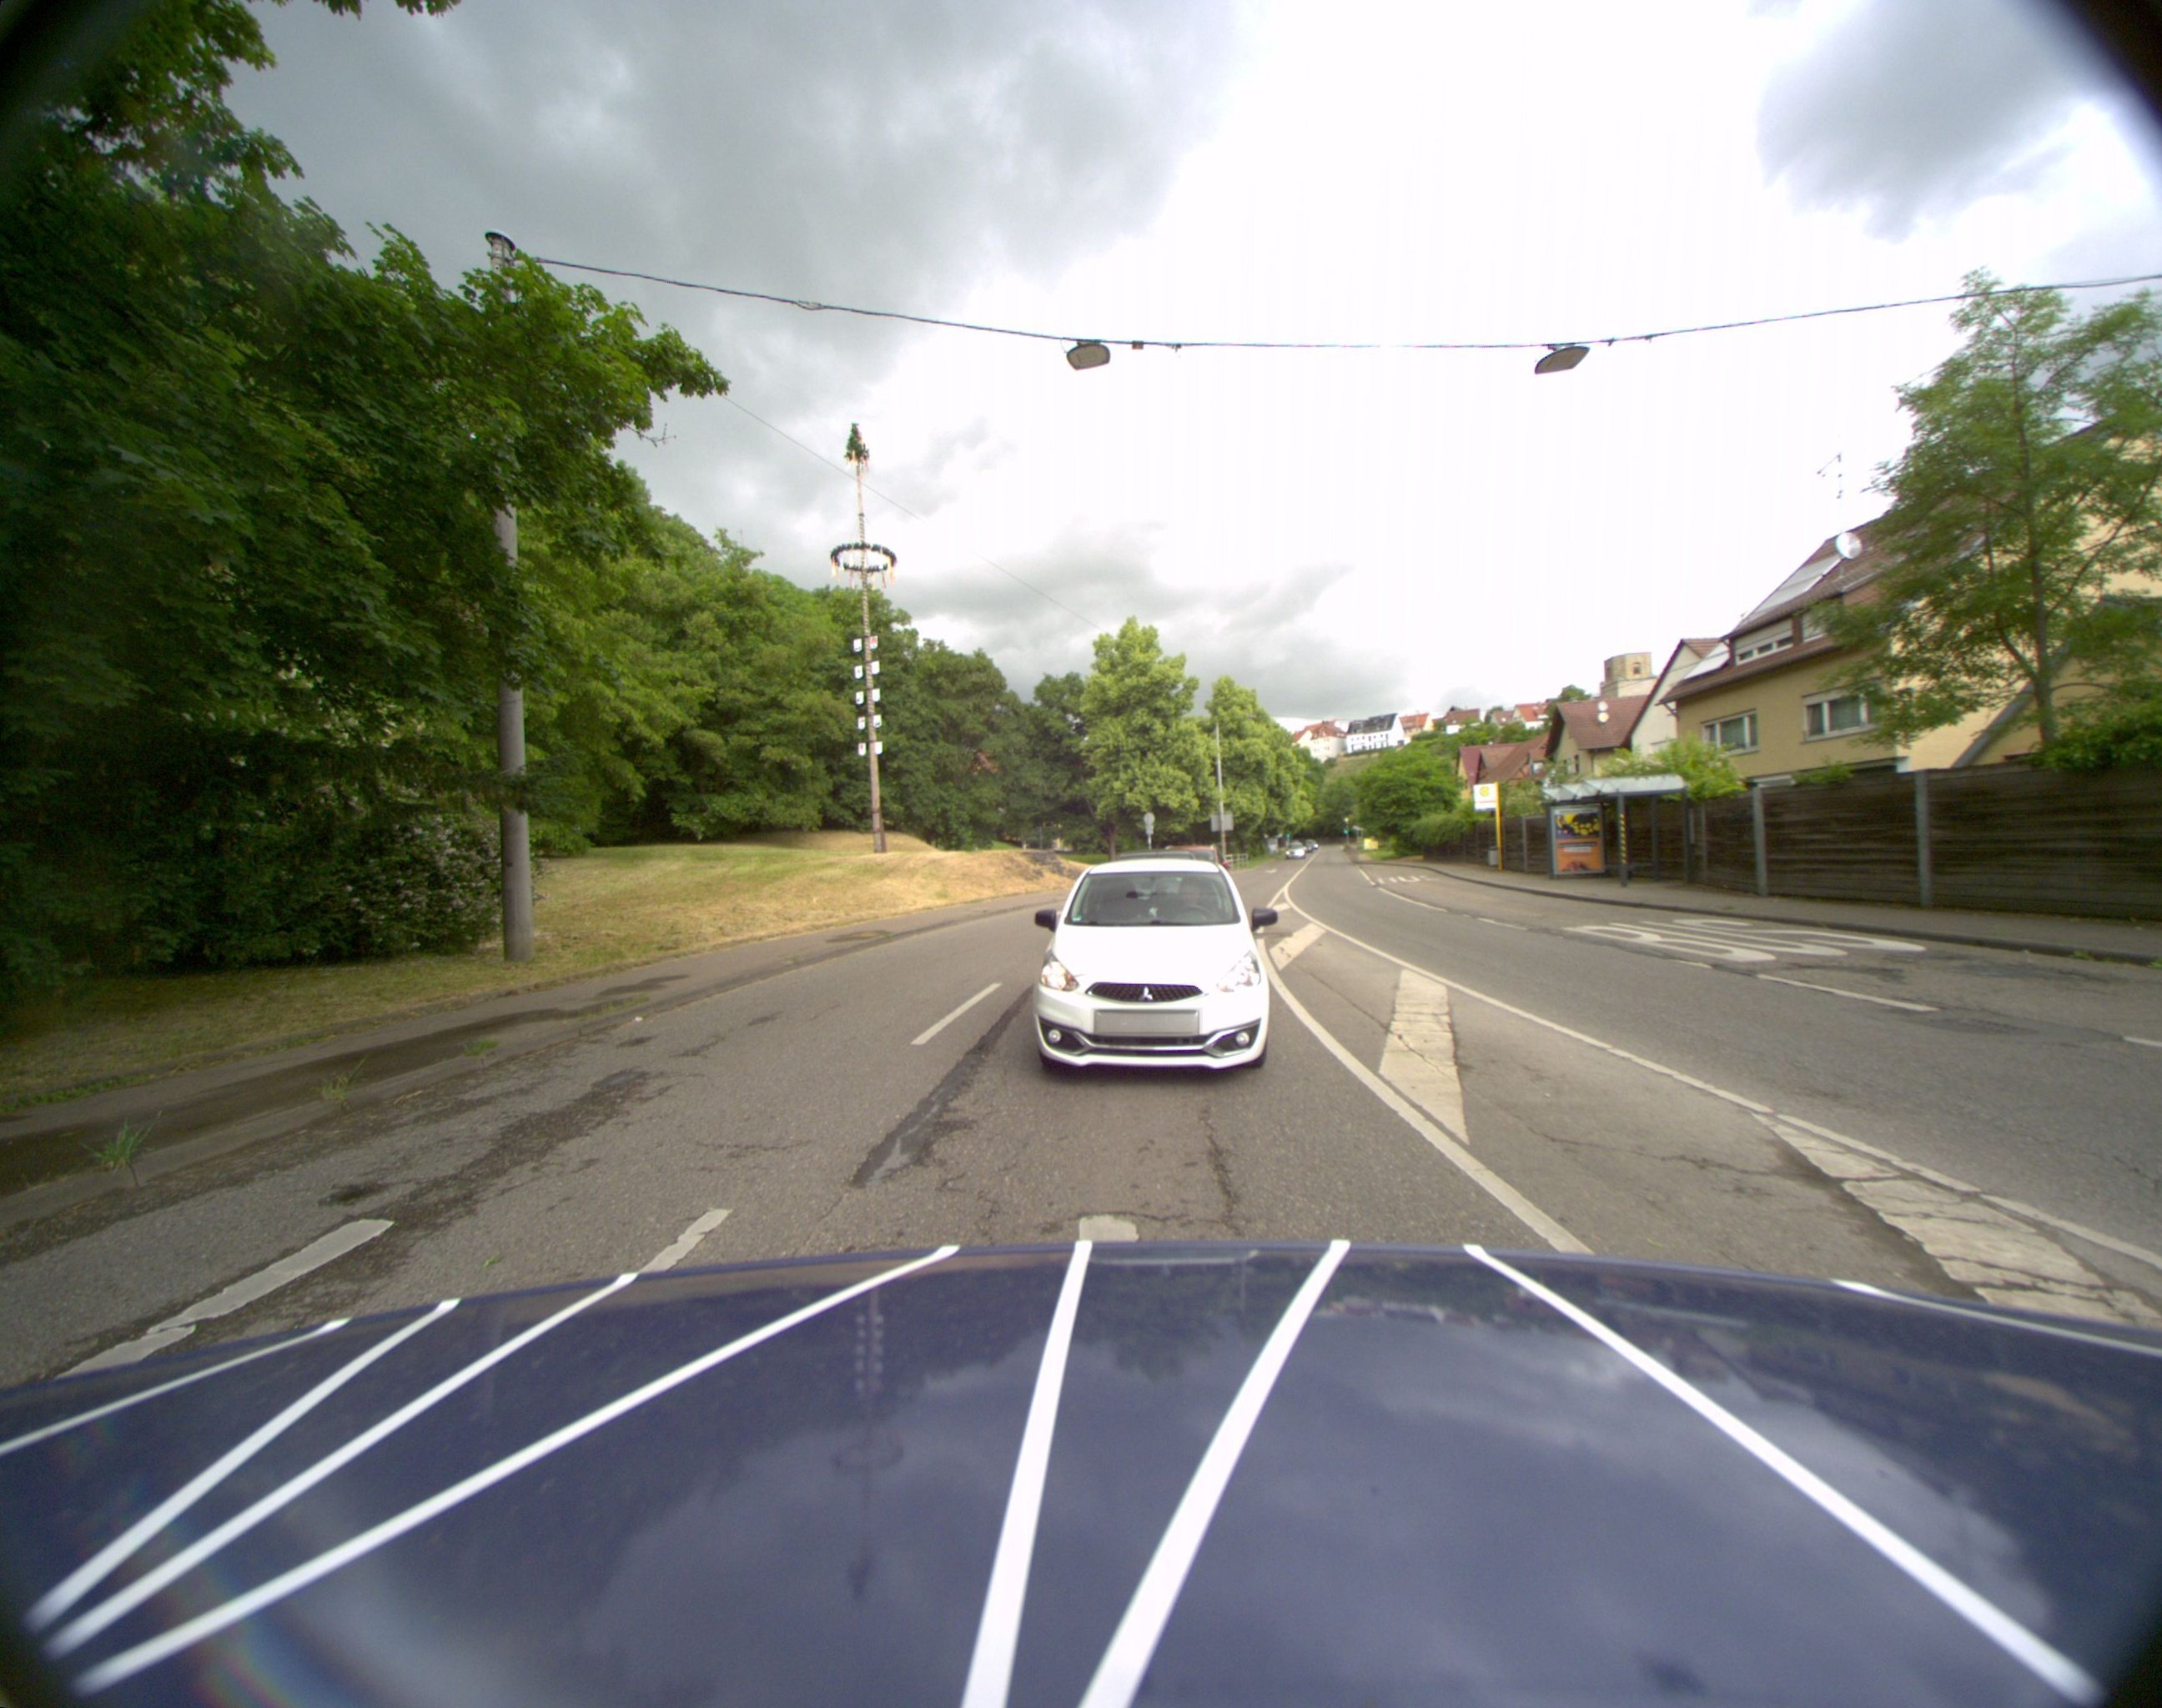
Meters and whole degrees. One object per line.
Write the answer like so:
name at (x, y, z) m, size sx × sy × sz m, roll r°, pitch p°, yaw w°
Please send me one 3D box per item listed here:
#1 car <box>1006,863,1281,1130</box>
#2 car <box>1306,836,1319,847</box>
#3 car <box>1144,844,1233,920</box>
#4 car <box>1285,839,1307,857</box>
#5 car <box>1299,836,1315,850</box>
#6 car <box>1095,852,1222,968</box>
car at (0.642, 0.908, 6.430) m, size 1.617 × 1.505 × 3.607 m, roll -2°, pitch 1°, yaw 9°
car at (37.743, -2.068, 123.968) m, size 1.844 × 1.608 × 4.004 m, roll -2°, pitch 1°, yaw 14°
car at (2.860, 0.631, 19.460) m, size 1.826 × 1.662 × 4.061 m, roll -2°, pitch 1°, yaw 13°
car at (21.140, -0.618, 74.965) m, size 1.844 × 1.630 × 4.003 m, roll -2°, pitch 1°, yaw 13°
car at (31.272, -1.505, 105.120) m, size 1.909 × 1.745 × 4.004 m, roll -3°, pitch 0°, yaw 17°
car at (1.371, 0.794, 12.591) m, size 1.723 × 1.539 × 3.784 m, roll -2°, pitch 1°, yaw 9°
